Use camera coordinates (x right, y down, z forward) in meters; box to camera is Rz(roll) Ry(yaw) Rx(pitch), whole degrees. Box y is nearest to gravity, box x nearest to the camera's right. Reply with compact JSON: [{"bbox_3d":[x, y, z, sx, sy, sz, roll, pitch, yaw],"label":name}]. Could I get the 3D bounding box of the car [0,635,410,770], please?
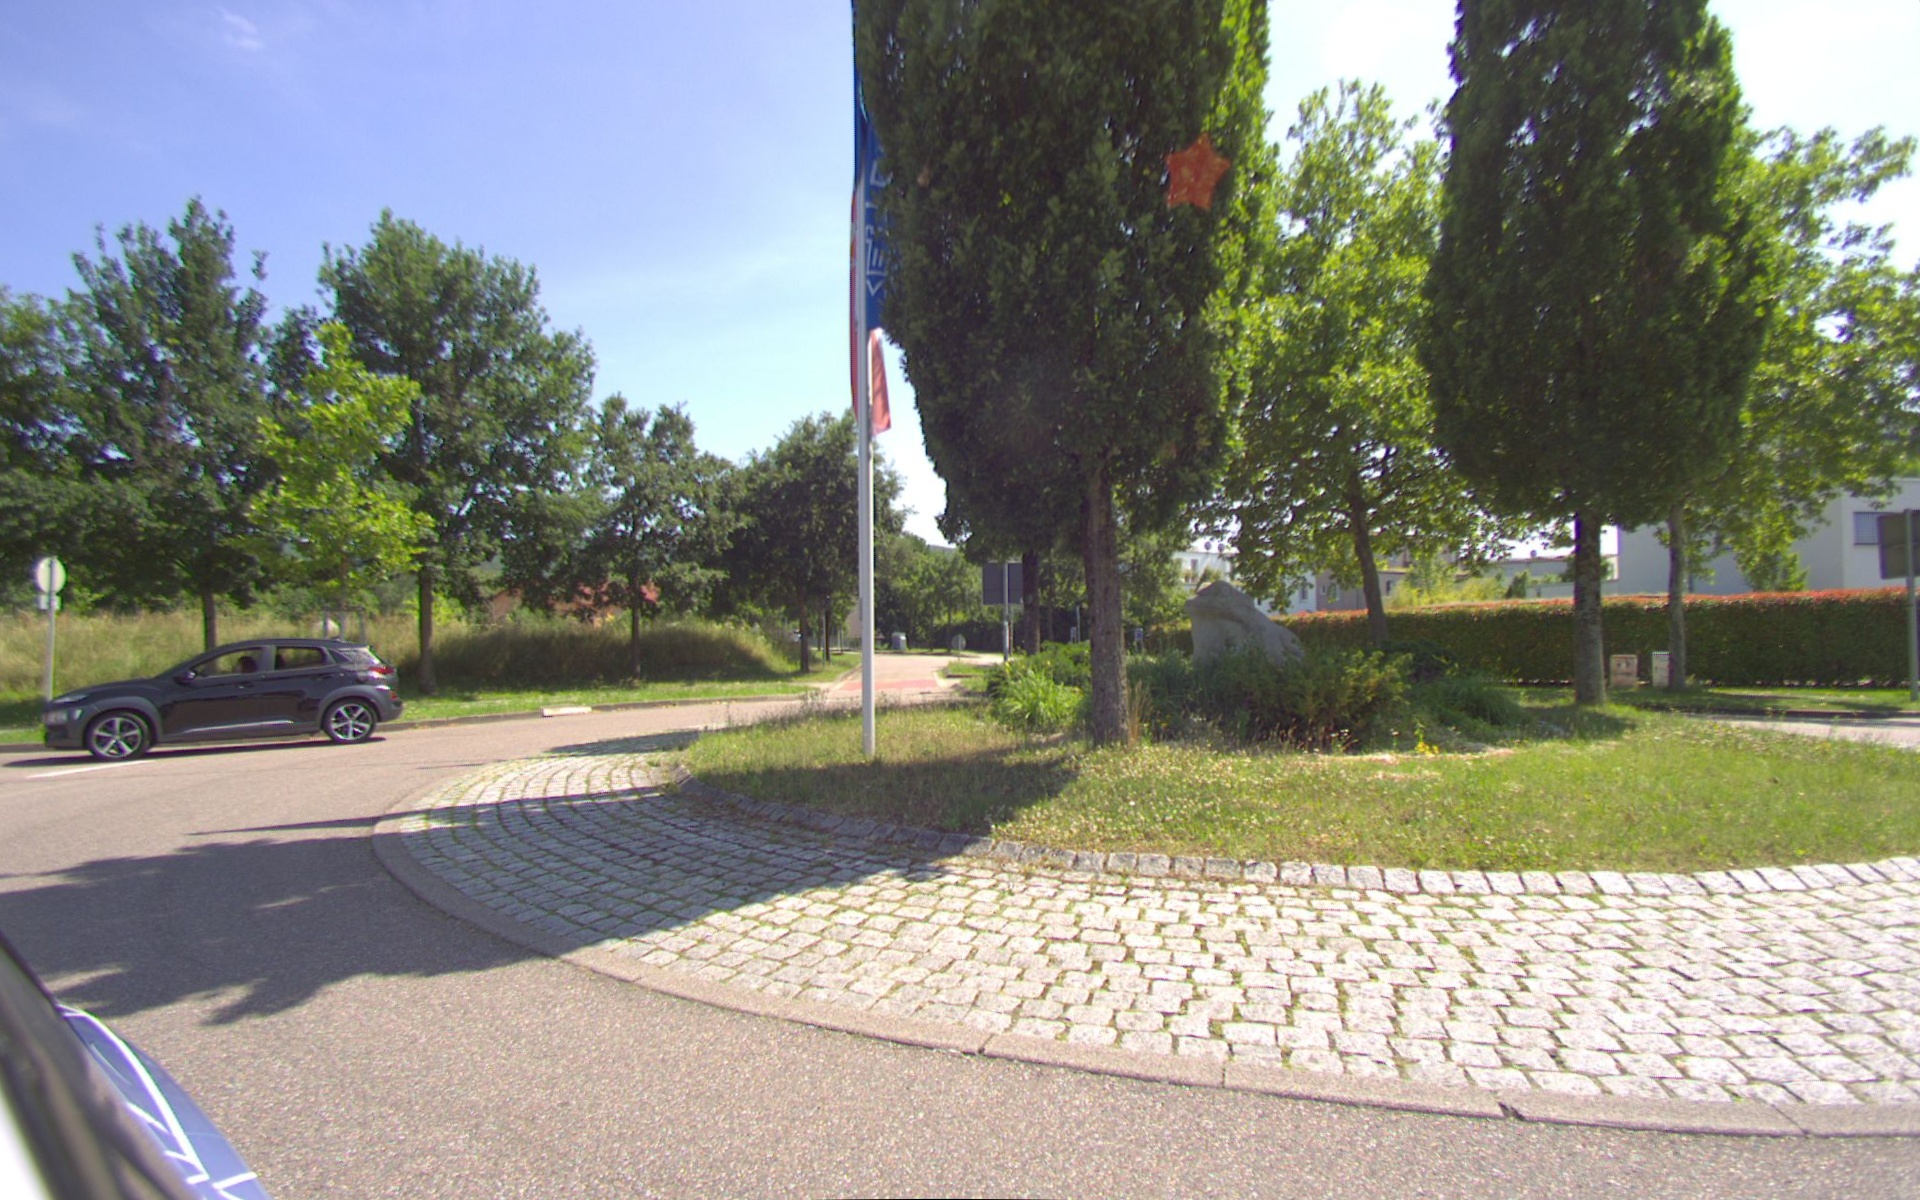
[{"bbox_3d":[-10.372,1.321,14.244,4.413,1.581,1.870,1,-3,-37],"label":"car"}]
